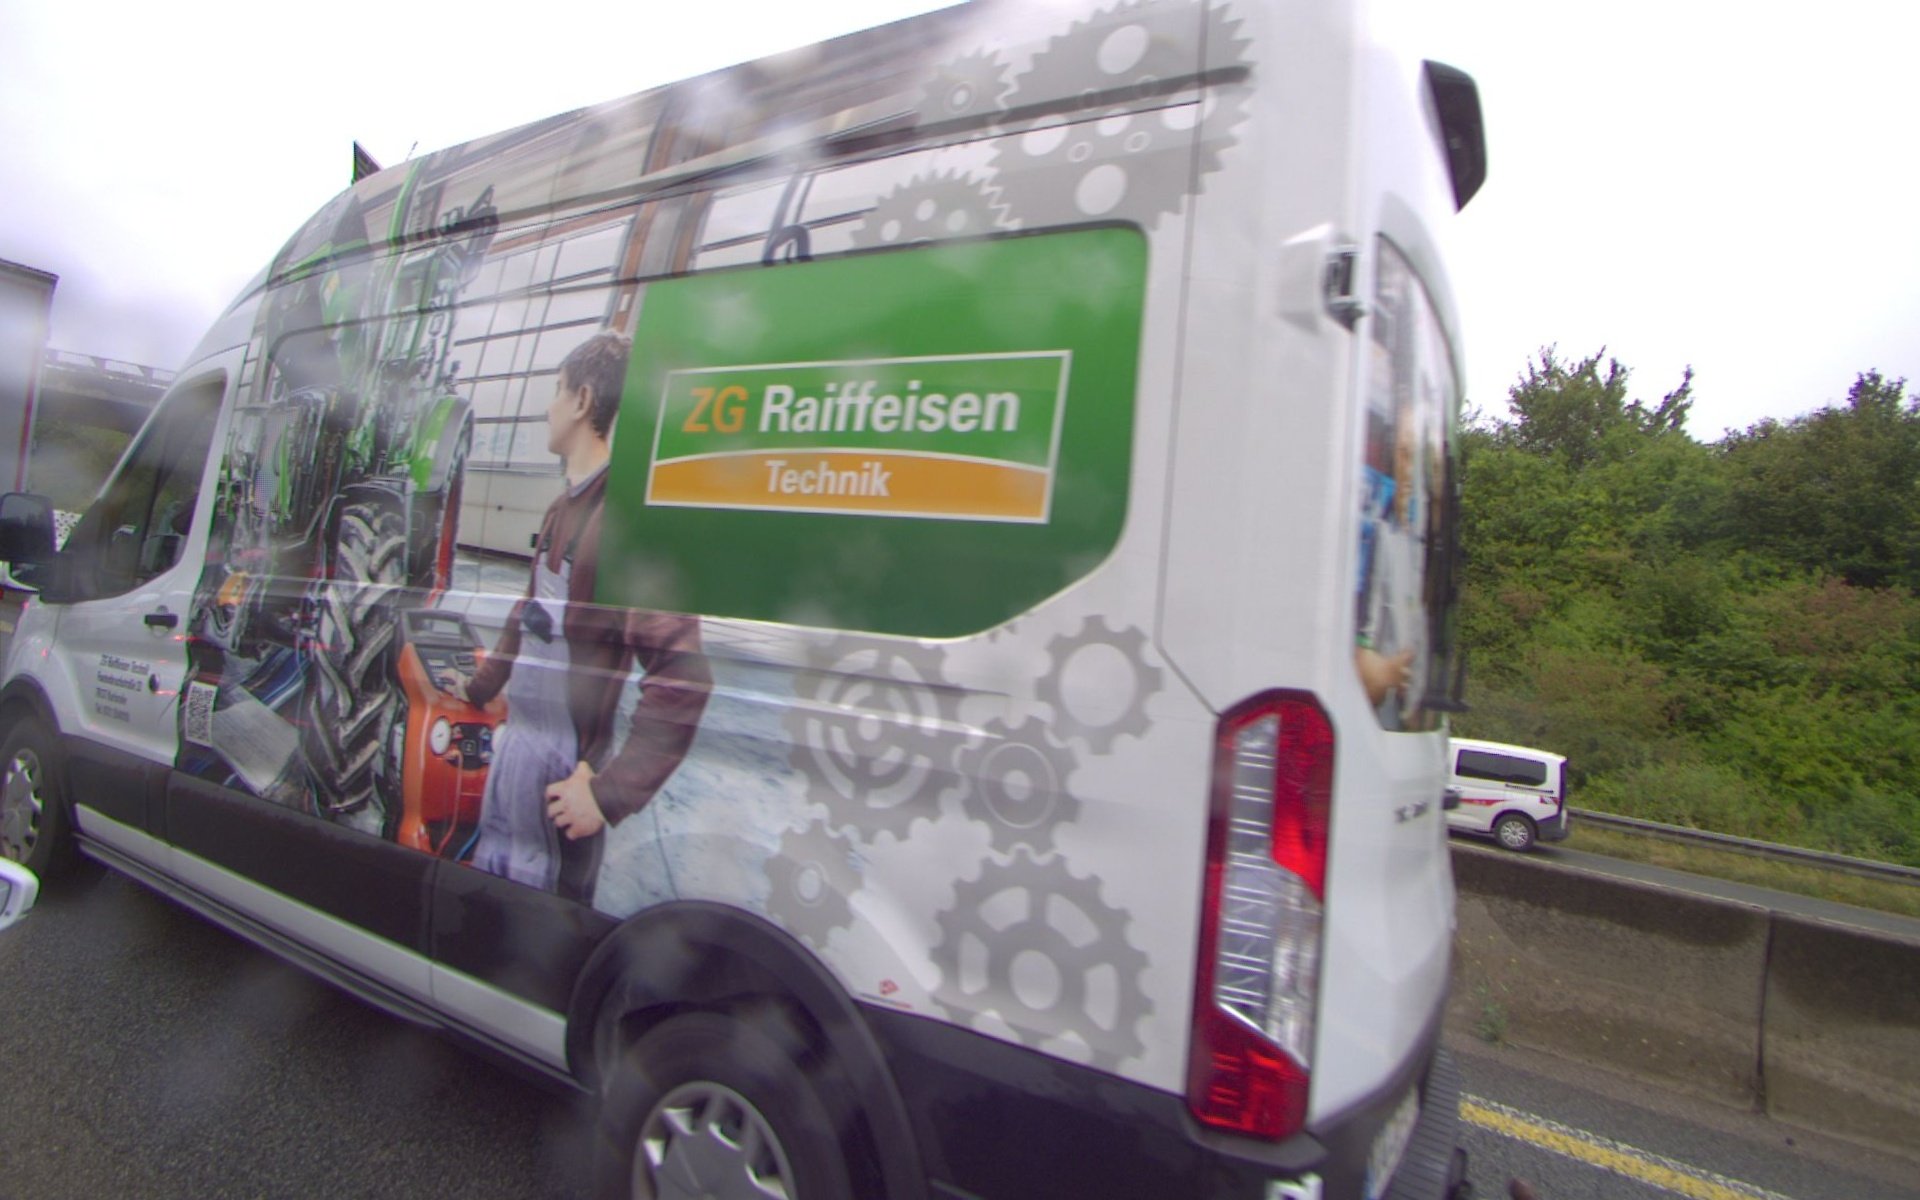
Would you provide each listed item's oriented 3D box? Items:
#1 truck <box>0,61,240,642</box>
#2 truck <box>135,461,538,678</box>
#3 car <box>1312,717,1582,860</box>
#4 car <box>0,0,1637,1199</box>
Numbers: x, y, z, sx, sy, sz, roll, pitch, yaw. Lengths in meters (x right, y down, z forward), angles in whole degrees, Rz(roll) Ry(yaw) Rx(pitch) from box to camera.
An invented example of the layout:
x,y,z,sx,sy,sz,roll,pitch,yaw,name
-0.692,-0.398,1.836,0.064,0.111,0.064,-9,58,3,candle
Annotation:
x,y,z,sx,sy,sz,roll,pitch,yaw,name
-18.345,-3.463,15.521,20.040,5.739,3.986,6,-1,32,truck
-12.134,-0.725,19.163,8.967,3.168,2.525,6,-1,32,truck
9.114,3.427,18.995,4.257,1.790,1.732,6,-2,31,car
-1.367,-0.056,3.567,6.017,2.707,2.148,6,-1,33,car
